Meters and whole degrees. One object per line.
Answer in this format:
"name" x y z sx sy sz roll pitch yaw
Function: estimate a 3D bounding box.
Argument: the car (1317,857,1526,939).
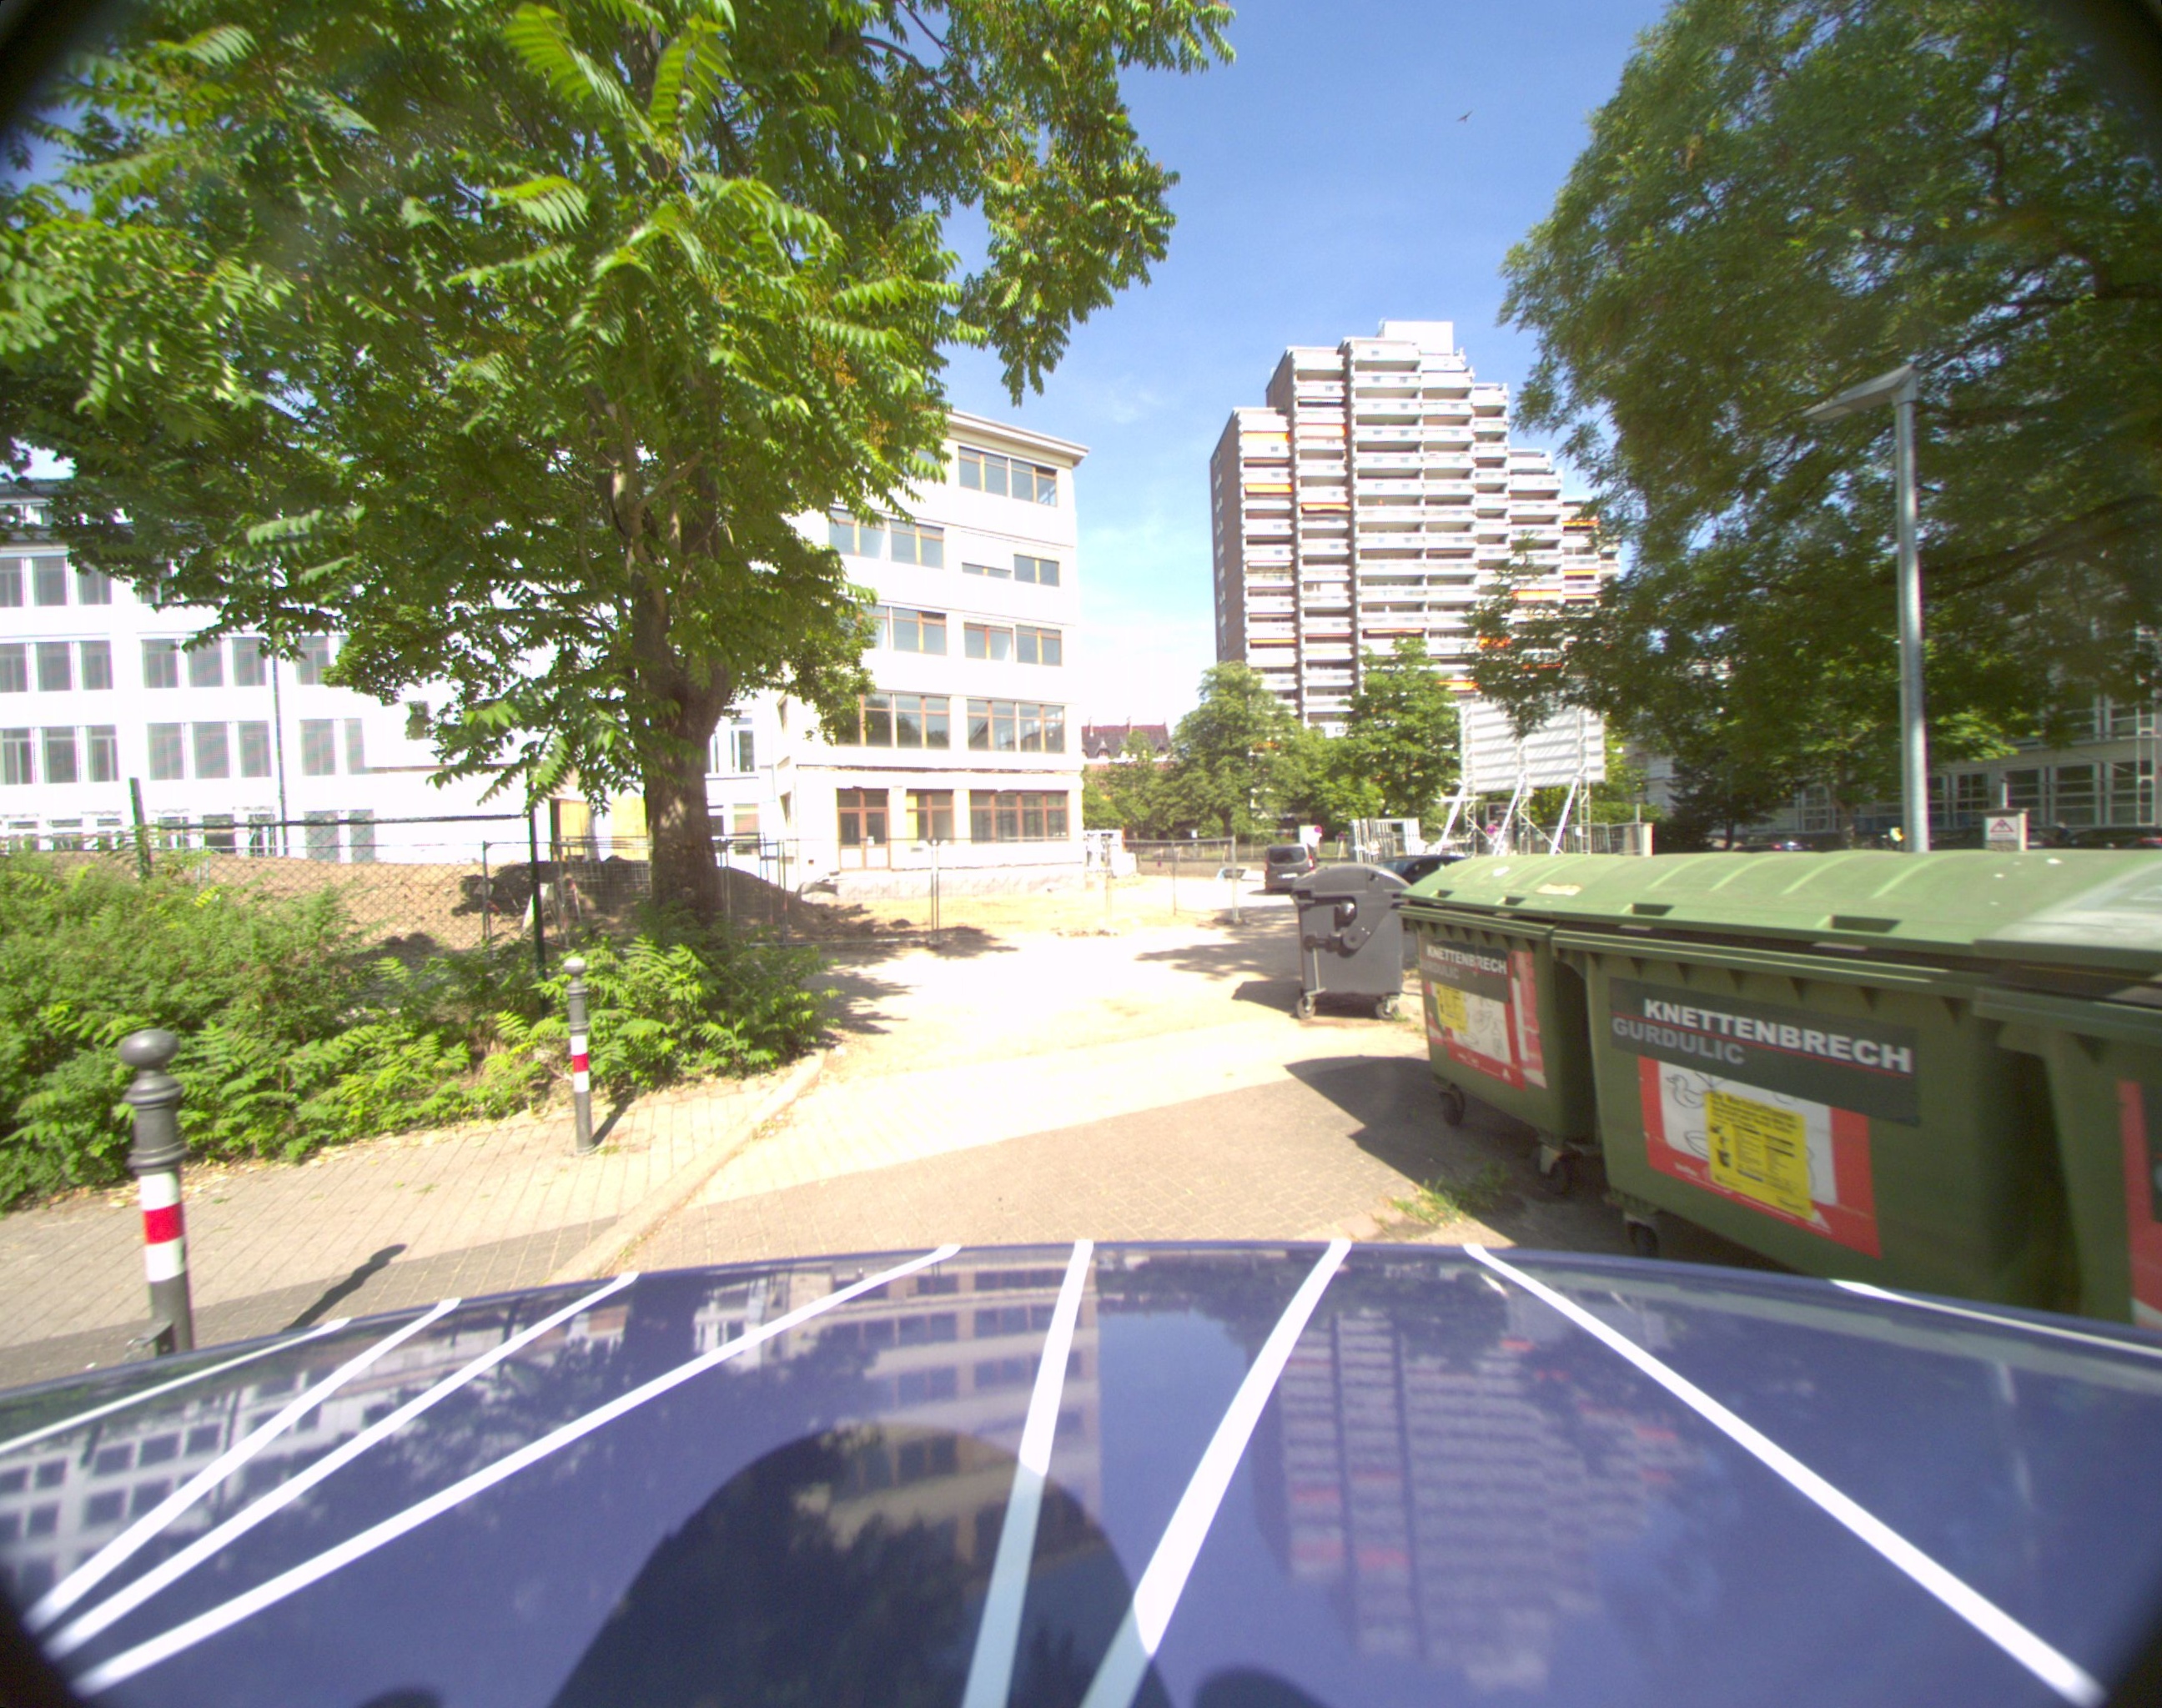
"car" 6.948 0.799 15.418 4.181 1.404 1.659 -1 0 -28

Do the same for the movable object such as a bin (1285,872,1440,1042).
"movable object such as a bin" 2.635 0.912 7.312 1.246 1.389 1.405 -1 1 16

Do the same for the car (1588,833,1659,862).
"car" 30.454 -0.408 42.818 1.839 1.402 4.150 -3 1 14

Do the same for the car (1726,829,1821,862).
"car" 33.732 -0.415 37.164 1.651 1.443 4.003 -2 0 13

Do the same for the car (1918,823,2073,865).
"car" 37.646 -0.398 31.462 1.805 1.556 4.395 -2 0 13

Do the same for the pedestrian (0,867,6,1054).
"pedestrian" -10.322 0.987 6.579 0.854 1.718 0.757 -1 1 -9

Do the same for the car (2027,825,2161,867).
"car" 38.941 -0.313 28.687 1.798 1.467 4.188 -1 1 12

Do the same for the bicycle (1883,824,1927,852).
"bicycle" 41.725 -0.793 38.471 2.017 1.370 0.489 -2 1 -11

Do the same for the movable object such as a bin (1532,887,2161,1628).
"movable object such as a bin" 2.382 0.865 2.289 1.249 1.423 1.222 -2 1 -13

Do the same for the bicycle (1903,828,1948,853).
"bicycle" 41.677 -0.669 37.493 2.017 1.193 0.489 -2 1 -11

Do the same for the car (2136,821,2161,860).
"car" 40.623 -0.500 26.719 1.799 1.478 4.344 -1 1 15

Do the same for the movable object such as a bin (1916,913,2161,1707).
"movable object such as a bin" 2.361 0.837 0.899 1.247 1.423 1.365 -2 1 -3

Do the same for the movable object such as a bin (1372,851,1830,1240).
"movable object such as a bin" 2.358 0.745 3.694 1.248 1.473 1.338 -2 1 -8

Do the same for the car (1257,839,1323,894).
"car" 7.797 0.407 28.105 1.918 1.770 4.318 -3 0 20
